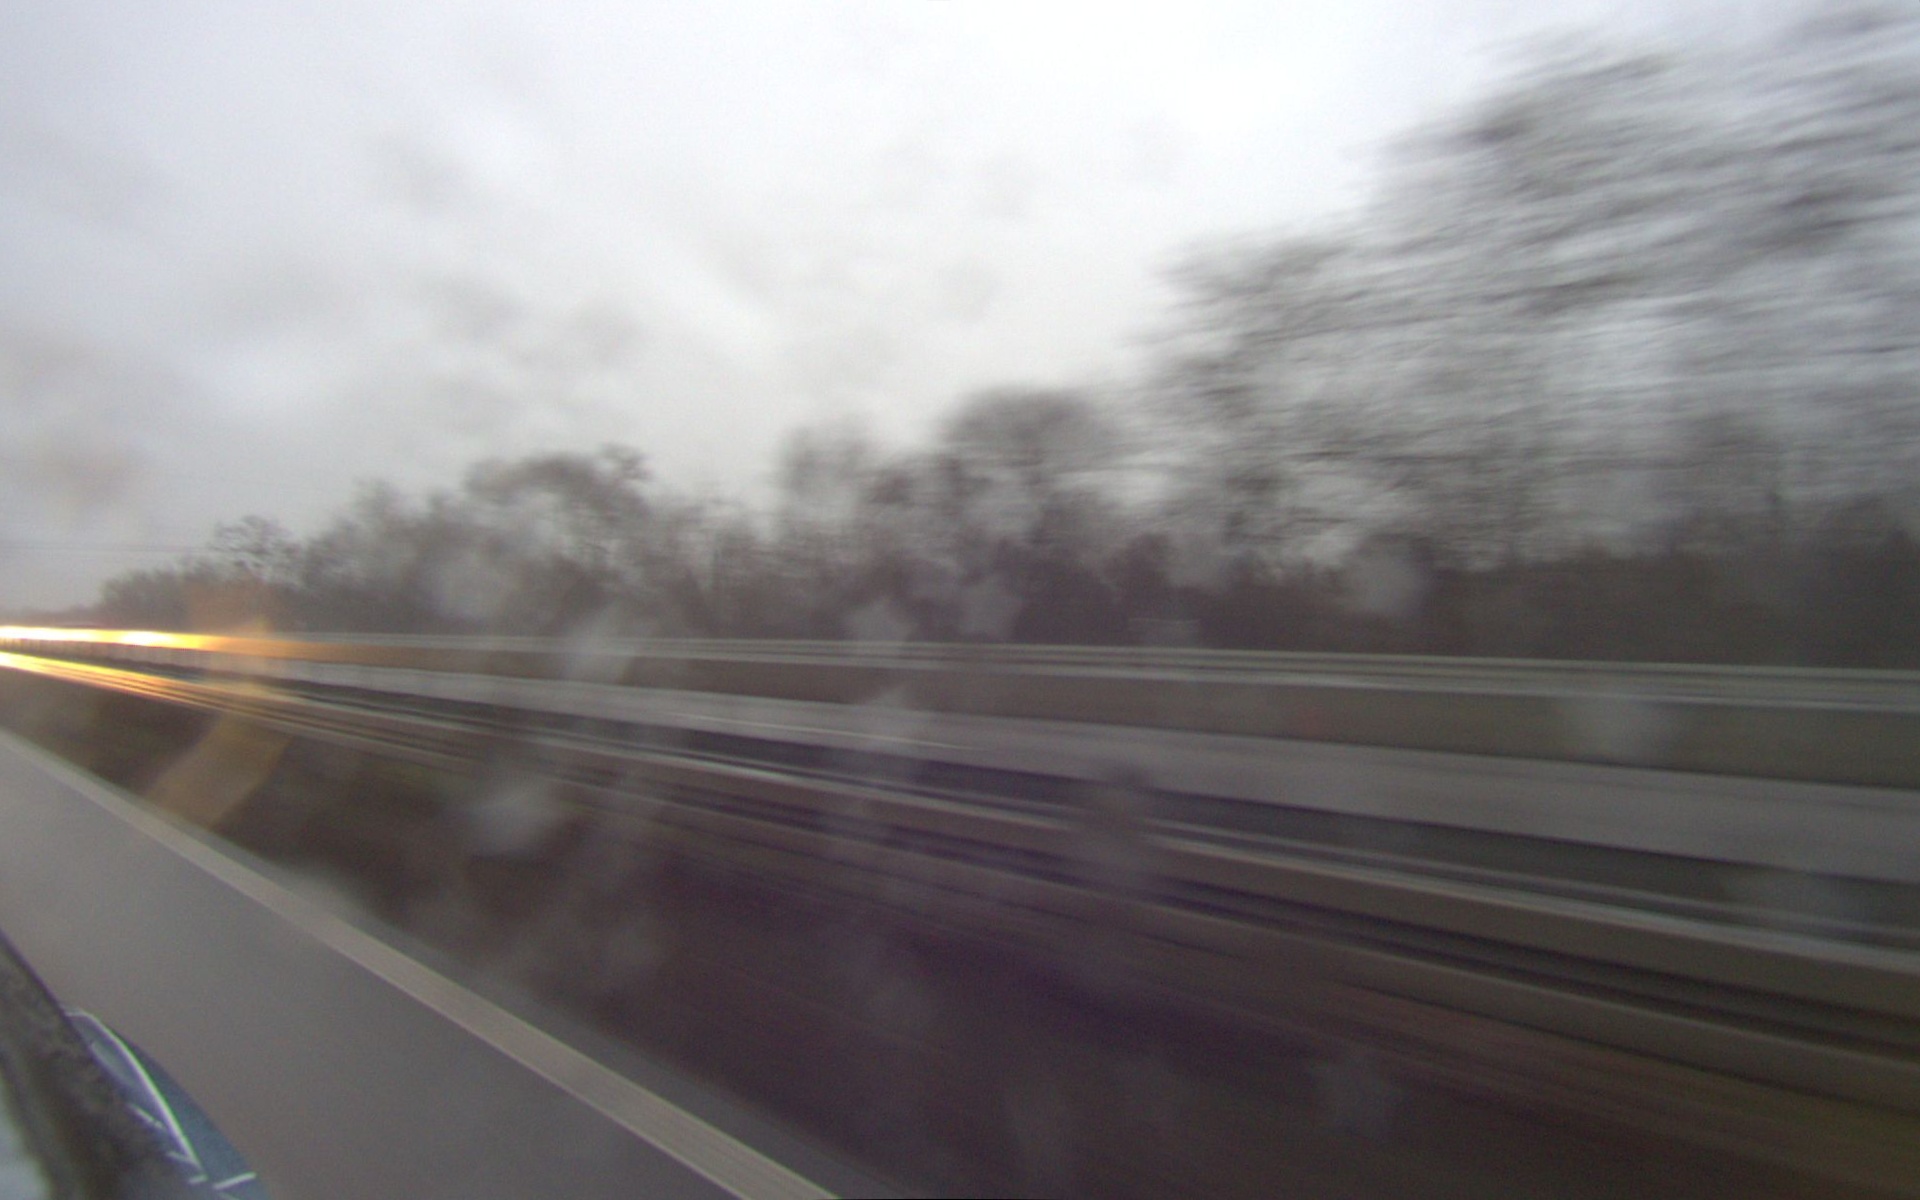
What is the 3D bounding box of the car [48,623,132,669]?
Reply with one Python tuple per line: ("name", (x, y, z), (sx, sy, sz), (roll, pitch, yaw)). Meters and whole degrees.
("car", (-30.045, 1.552, 34.919), (4.174, 1.485, 1.591), (-1, -1, 41))
